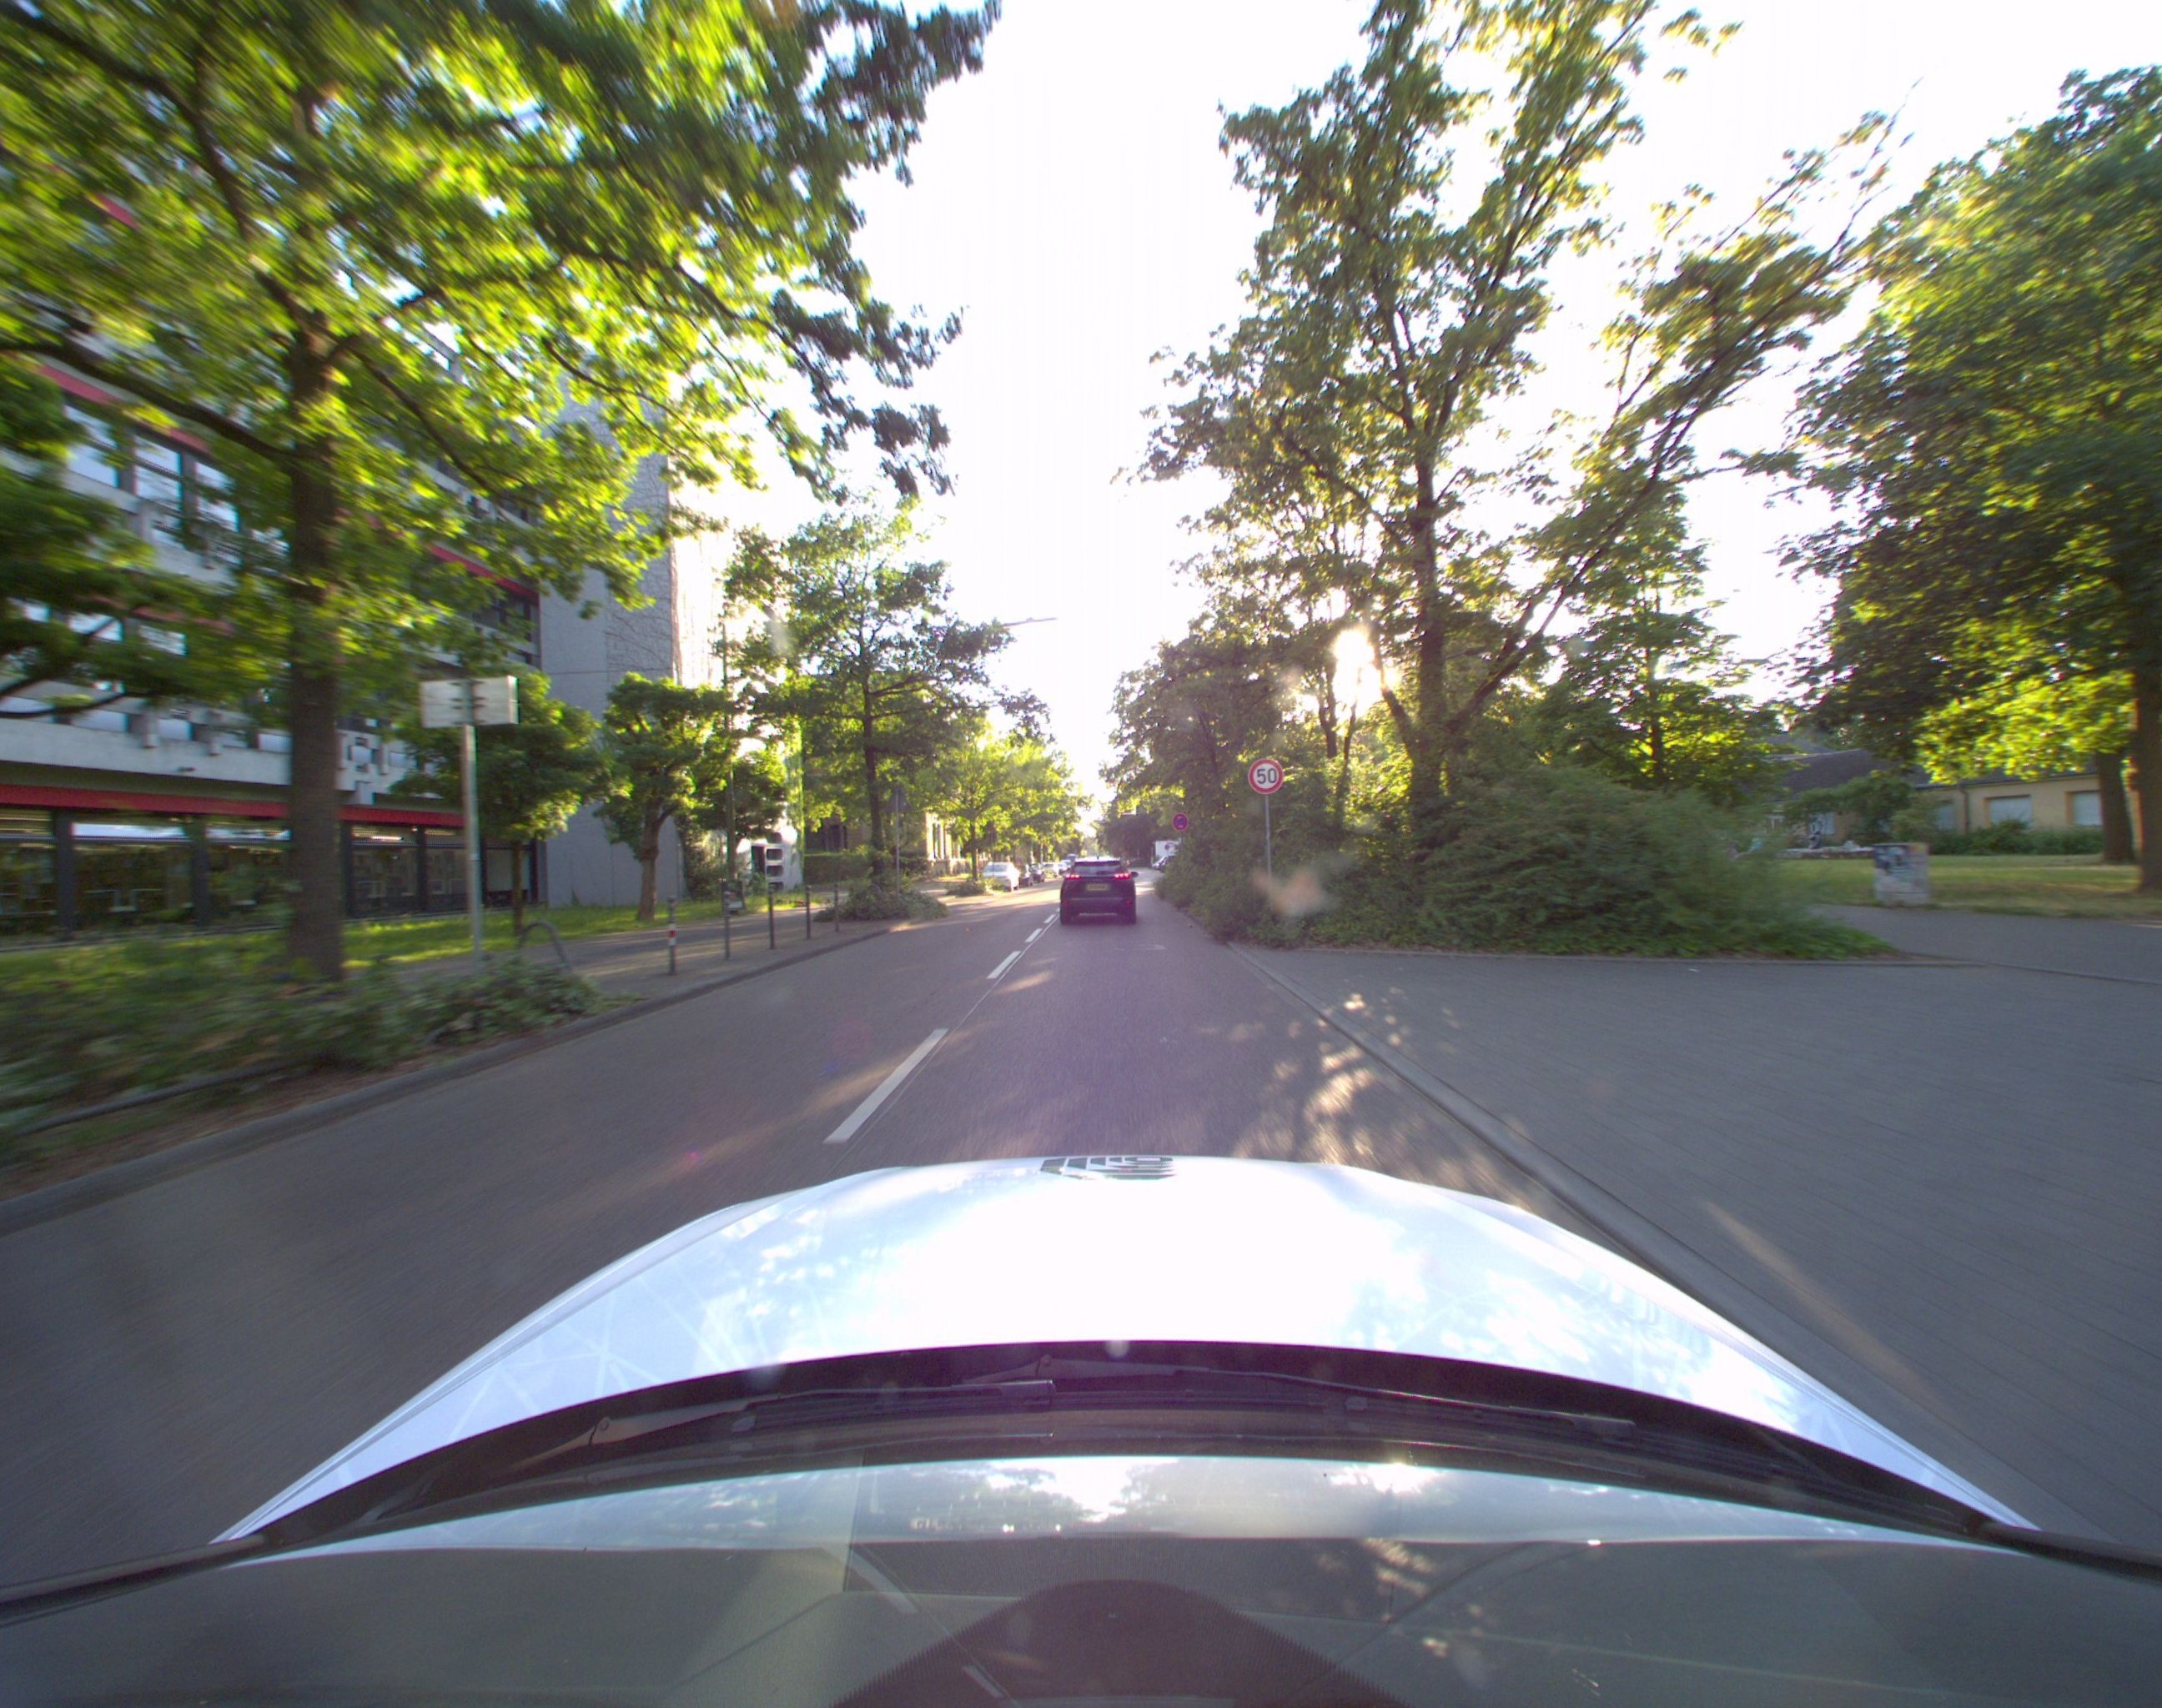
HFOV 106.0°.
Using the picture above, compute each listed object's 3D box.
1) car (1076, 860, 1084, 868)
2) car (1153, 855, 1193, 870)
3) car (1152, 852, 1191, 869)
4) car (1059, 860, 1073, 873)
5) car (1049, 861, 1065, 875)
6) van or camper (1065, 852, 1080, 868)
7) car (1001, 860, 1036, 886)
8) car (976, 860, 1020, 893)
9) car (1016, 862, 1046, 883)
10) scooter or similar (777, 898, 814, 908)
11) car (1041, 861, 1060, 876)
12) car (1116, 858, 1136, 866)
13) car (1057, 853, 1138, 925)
[{"bbox_3d":[-0.188,2.013,169.652,1.609,1.515,3.711,-4,-1,0],"label":"car"},{"bbox_3d":[11.968,1.050,105.650,4.910,1.554,1.916,-4,-1,0],"label":"car"},{"bbox_3d":[12.021,0.888,107.971,4.836,1.916,1.916,-4,-1,0],"label":"car"},{"bbox_3d":[-2.054,1.748,115.036,1.770,1.866,4.334,0,0,2],"label":"car"},{"bbox_3d":[-2.836,1.630,96.773,1.612,1.496,4.378,-1,0,1],"label":"car"},{"bbox_3d":[-1.363,1.079,134.103,2.221,2.544,7.081,-1,-1,1],"label":"van or camper"},{"bbox_3d":[-4.000,1.192,52.673,1.773,1.616,4.148,-1,-1,1],"label":"car"},{"bbox_3d":[-4.433,1.178,44.209,1.797,1.616,4.148,-2,-1,1],"label":"car"},{"bbox_3d":[-3.827,1.387,62.968,1.795,1.510,4.866,-1,-1,3],"label":"car"},{"bbox_3d":[-10.454,1.779,29.883,1.163,0.276,1.244,-1,0,-14],"label":"scooter or similar"},{"bbox_3d":[-3.123,1.484,84.086,1.612,1.496,3.925,-1,0,1],"label":"car"},{"bbox_3d":[10.185,1.759,184.558,4.230,1.449,2.020,-3,-1,-1],"label":"car"},{"bbox_3d":[0.427,0.768,20.109,1.765,1.568,4.110,-1,0,2],"label":"car"}]
